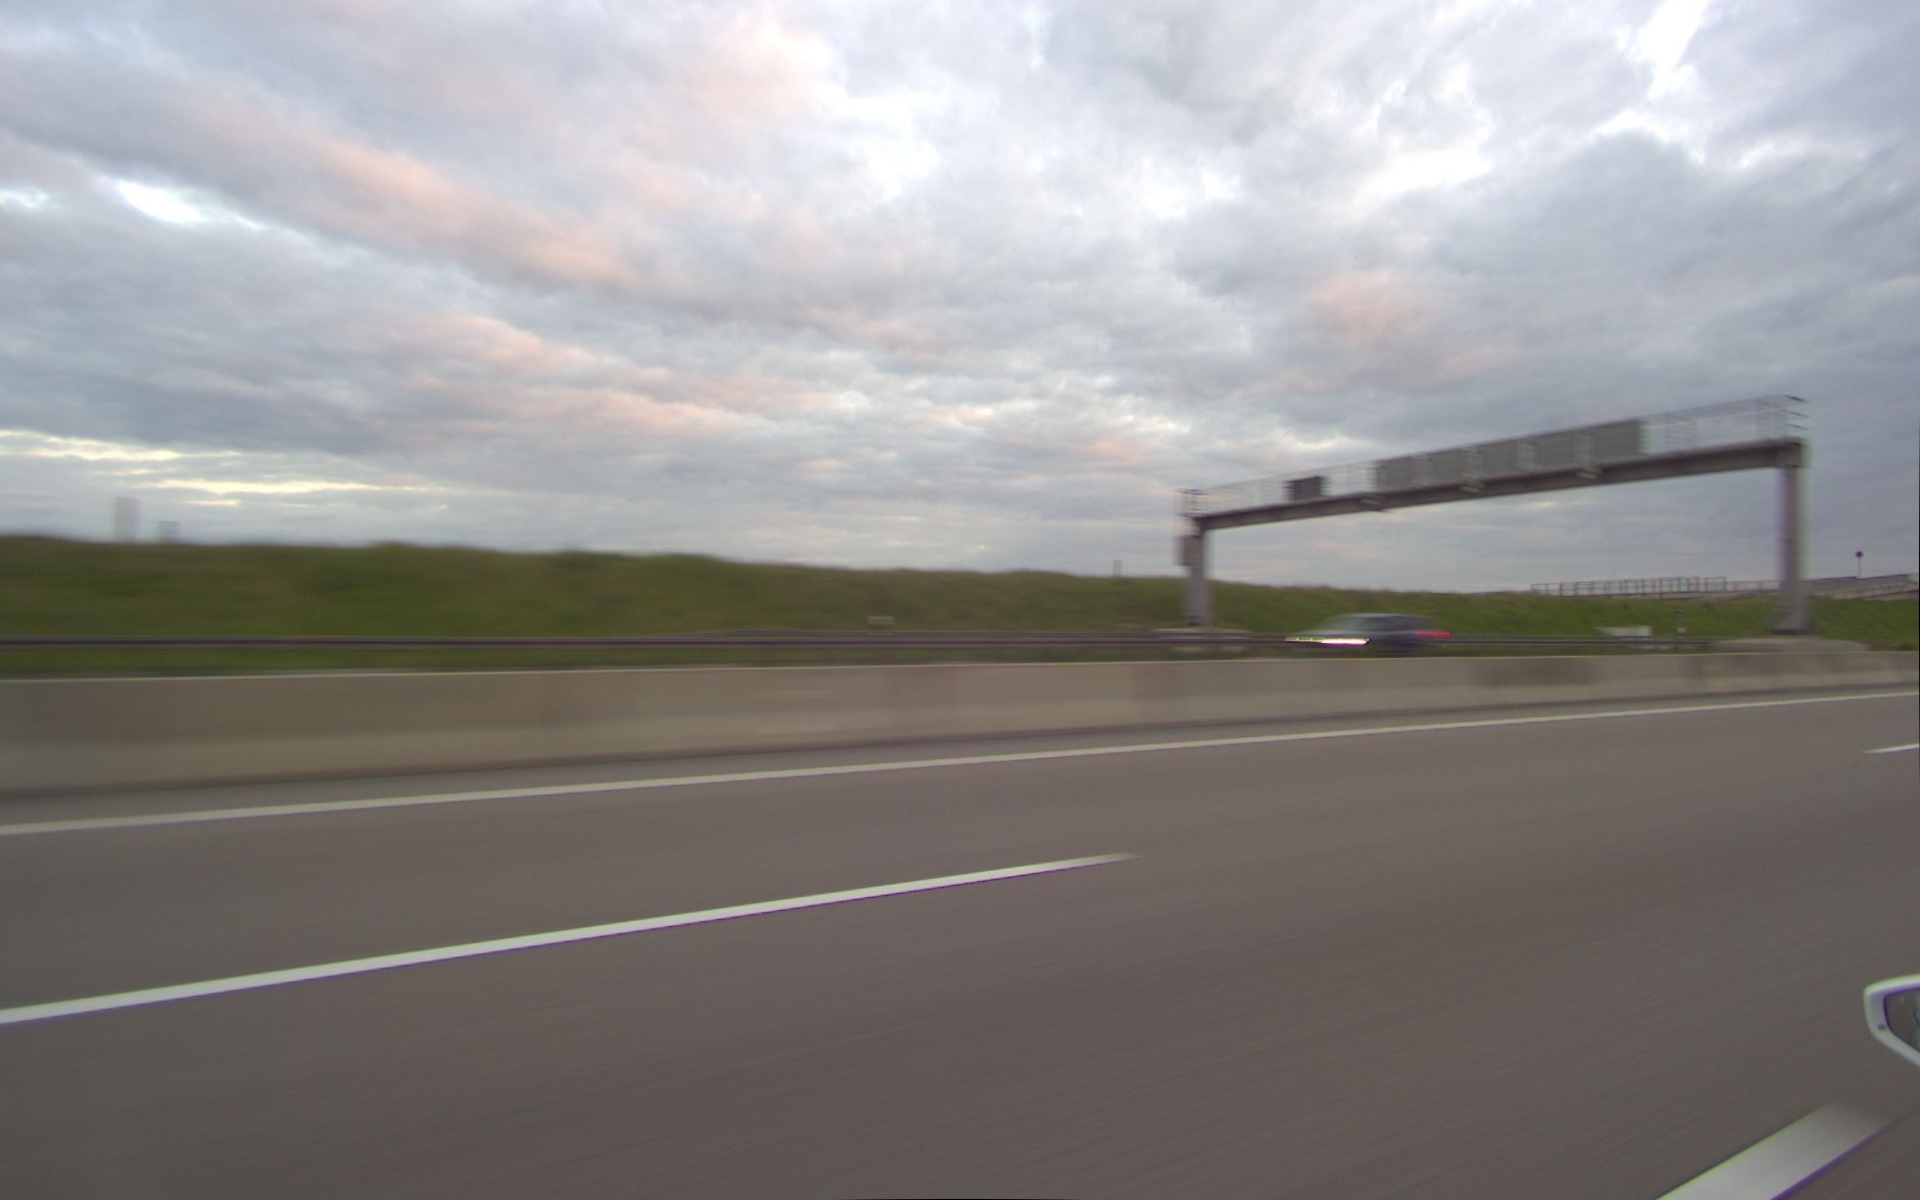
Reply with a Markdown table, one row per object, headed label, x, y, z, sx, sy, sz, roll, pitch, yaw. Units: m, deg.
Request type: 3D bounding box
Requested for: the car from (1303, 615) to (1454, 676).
| label | x | y | z | sx | sy | sz | roll | pitch | yaw |
| --- | --- | --- | --- | --- | --- | --- | --- | --- | --- |
| car | 13.668 | 1.460 | 32.722 | 5.030 | 1.851 | 1.983 | 2 | -1 | -31 |
